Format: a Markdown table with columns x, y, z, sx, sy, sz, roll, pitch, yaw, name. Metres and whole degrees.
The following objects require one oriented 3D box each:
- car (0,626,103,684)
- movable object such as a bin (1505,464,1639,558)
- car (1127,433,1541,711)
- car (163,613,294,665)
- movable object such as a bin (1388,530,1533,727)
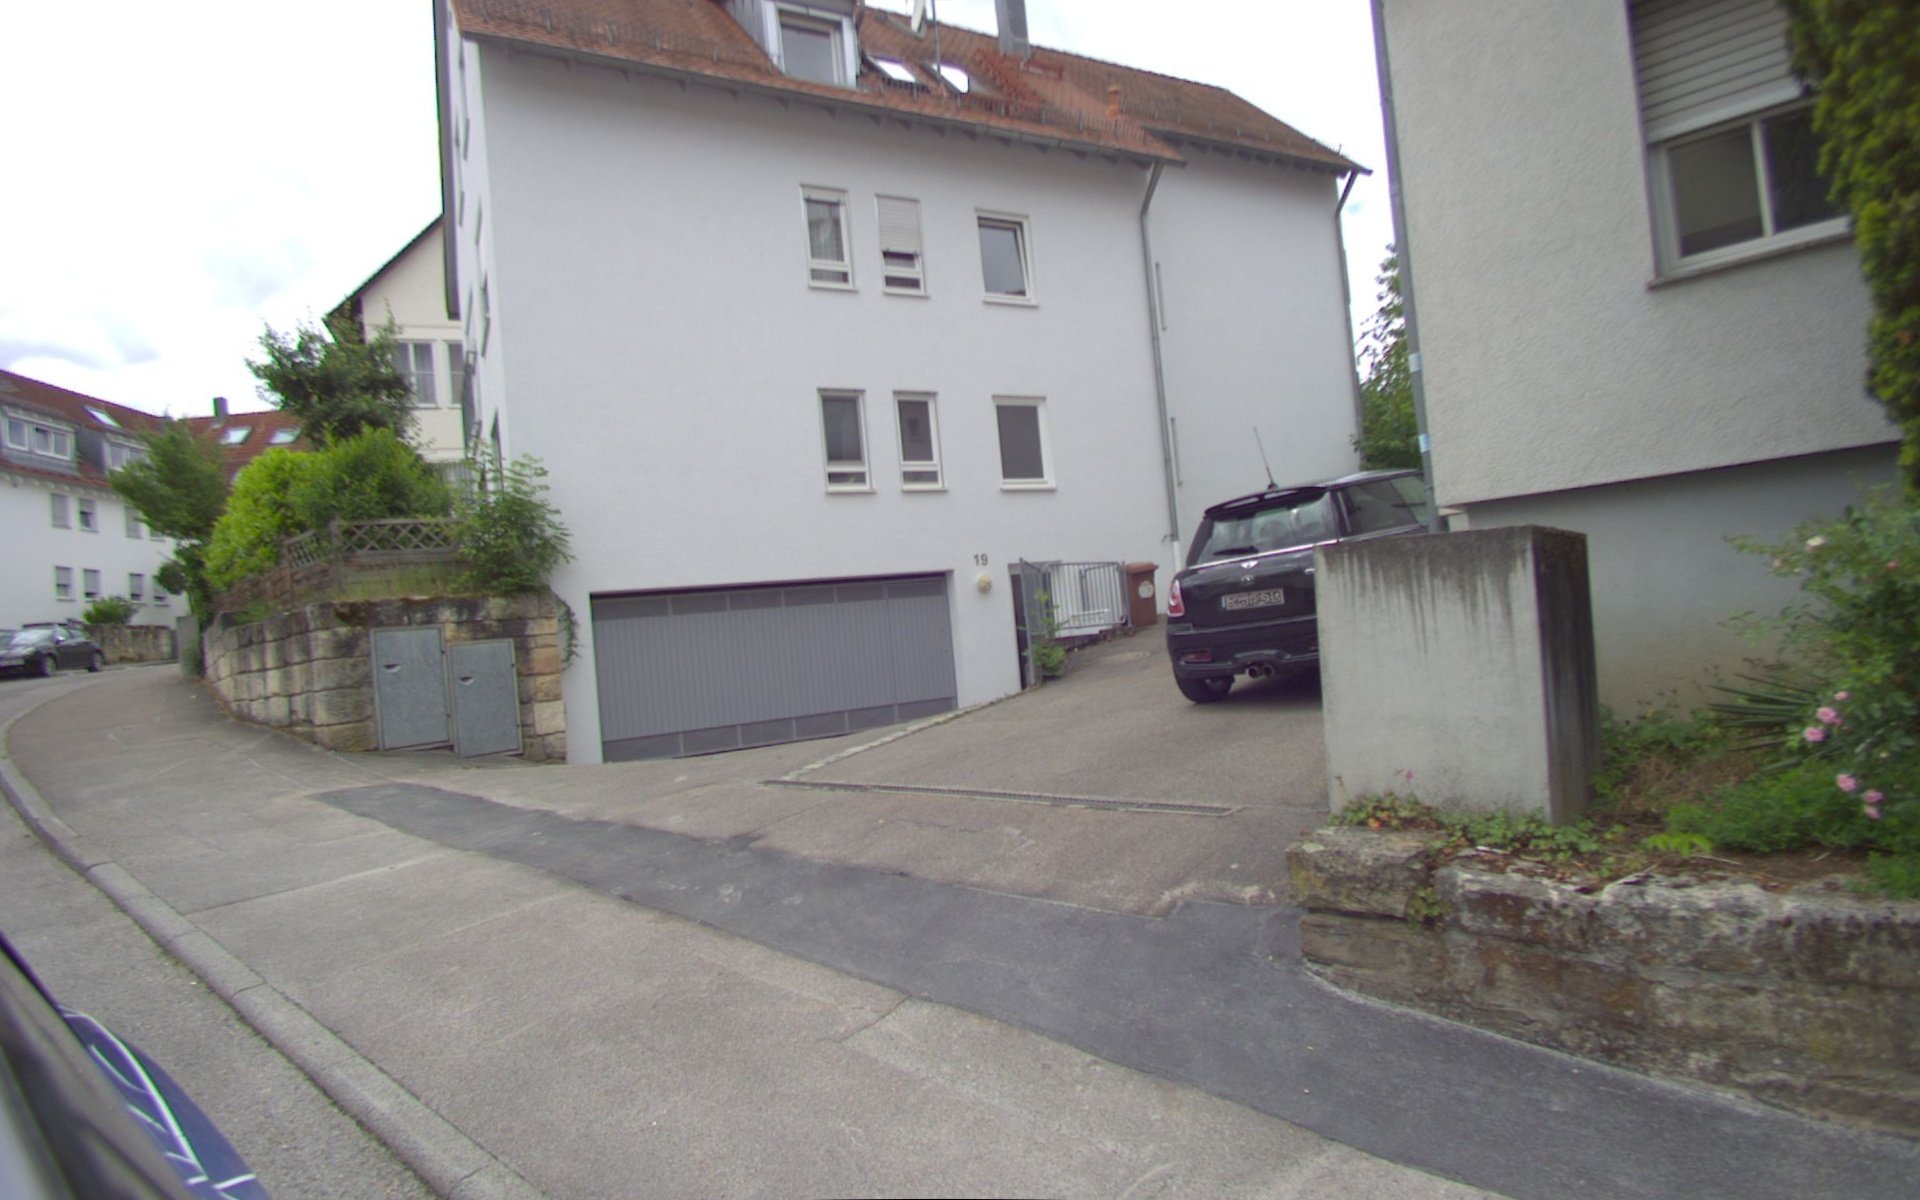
| x | y | z | sx | sy | sz | roll | pitch | yaw | name |
| --- | --- | --- | --- | --- | --- | --- | --- | --- | --- |
| -25.936 | 1.543 | 28.157 | 1.695 | 1.417 | 4.015 | -6 | 1 | -18 | car |
| 10.843 | -1.571 | 17.953 | 1.428 | 1.410 | 1.443 | -7 | 0 | -35 | movable object such as a bin |
| 2.977 | -0.303 | 7.665 | 1.625 | 1.479 | 3.367 | -8 | 3 | 43 | car |
| -27.972 | 1.453 | 38.902 | 1.923 | 1.651 | 4.465 | -7 | -1 | -5 | car |
| 2.629 | 0.145 | 5.310 | 0.431 | 0.908 | 0.507 | -10 | 3 | 42 | movable object such as a bin |
